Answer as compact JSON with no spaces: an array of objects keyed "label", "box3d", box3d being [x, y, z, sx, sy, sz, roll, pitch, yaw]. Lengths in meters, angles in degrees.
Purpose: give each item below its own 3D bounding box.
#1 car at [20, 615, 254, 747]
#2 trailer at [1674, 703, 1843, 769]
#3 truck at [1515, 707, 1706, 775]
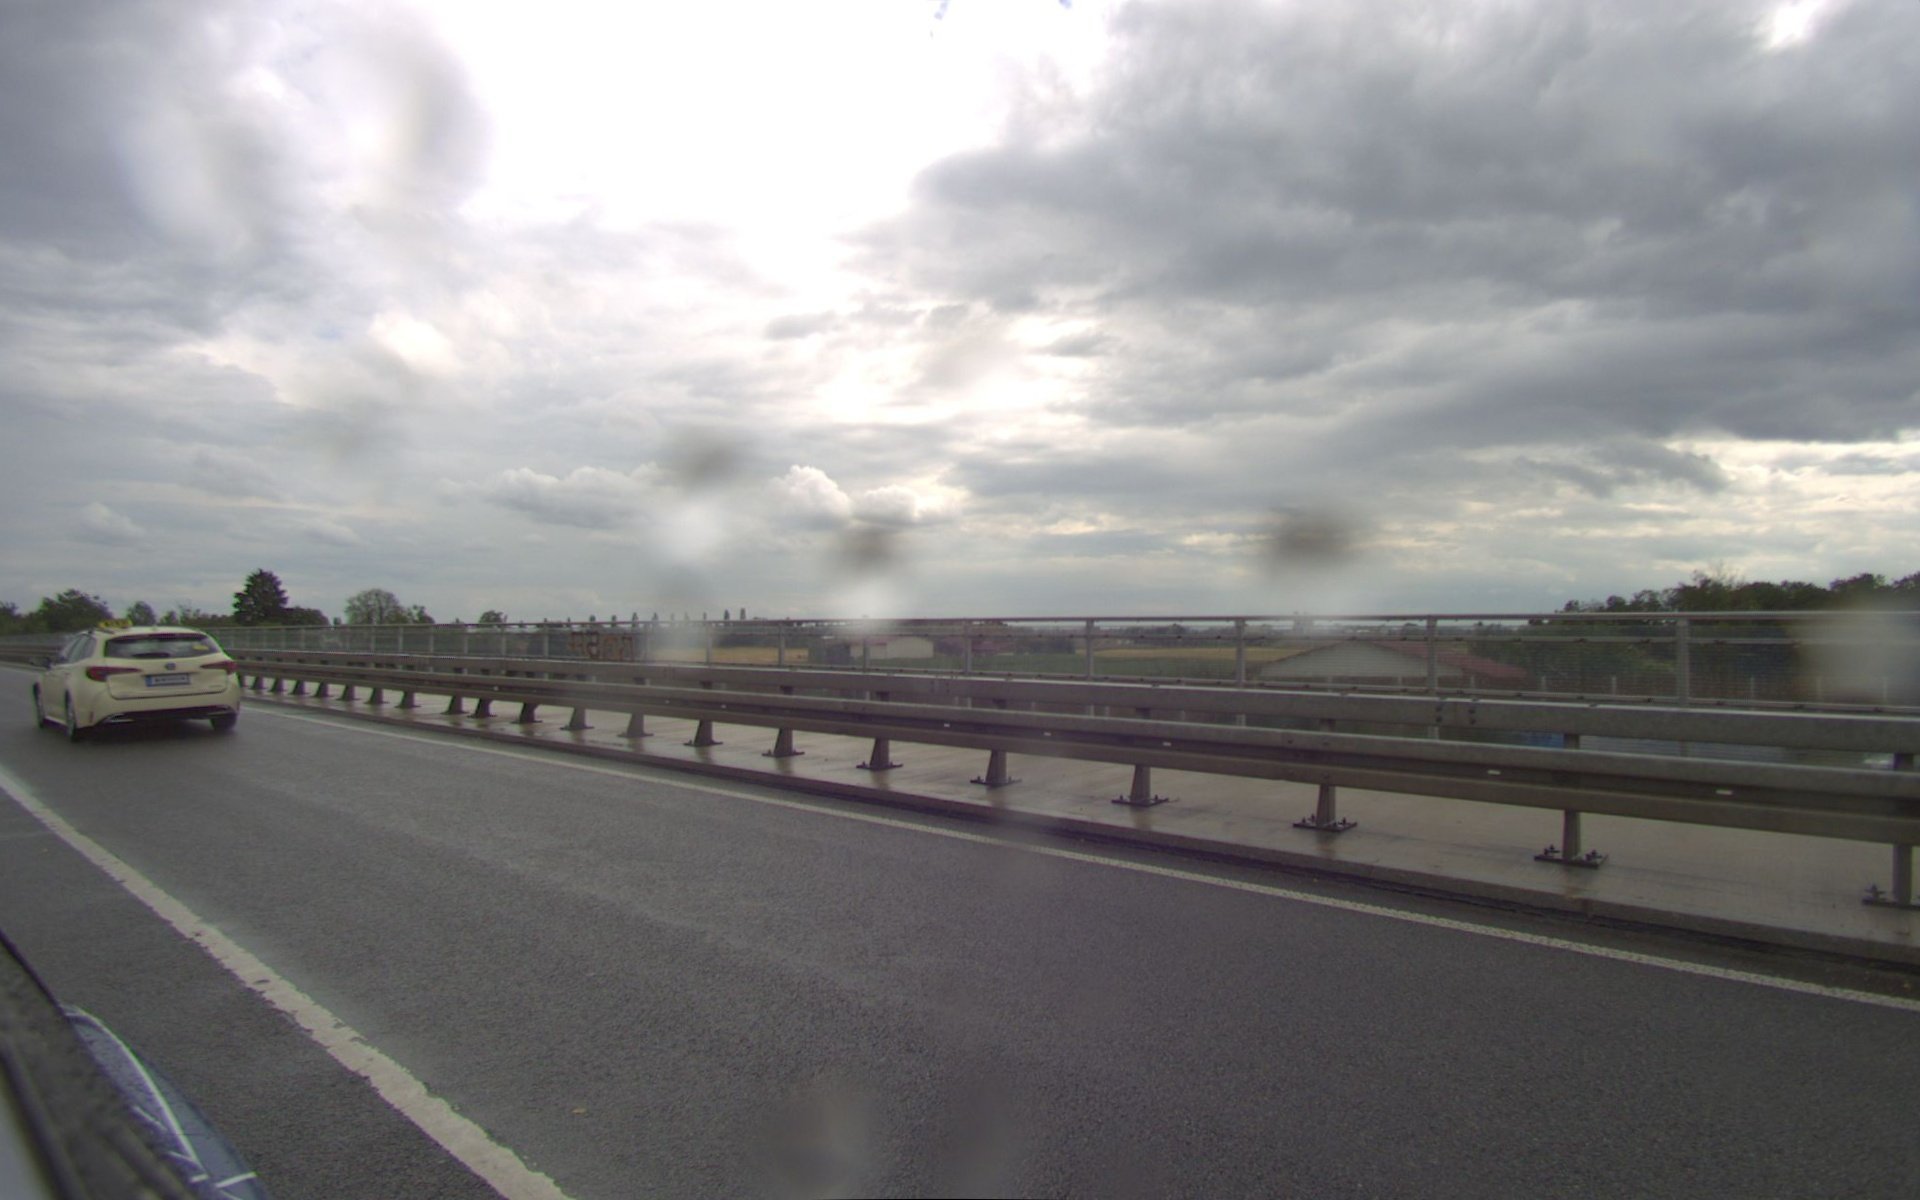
[{"label":"car","box3d":[-11.621,1.027,14.170,4.609,1.521,1.791,-2,-1,41]},{"label":"trailer","box3d":[52.573,8.925,66.706,9.318,3.790,2.439,-1,-1,-3]},{"label":"truck","box3d":[42.449,9.187,66.180,11.004,3.790,2.439,-1,-1,-3]}]
